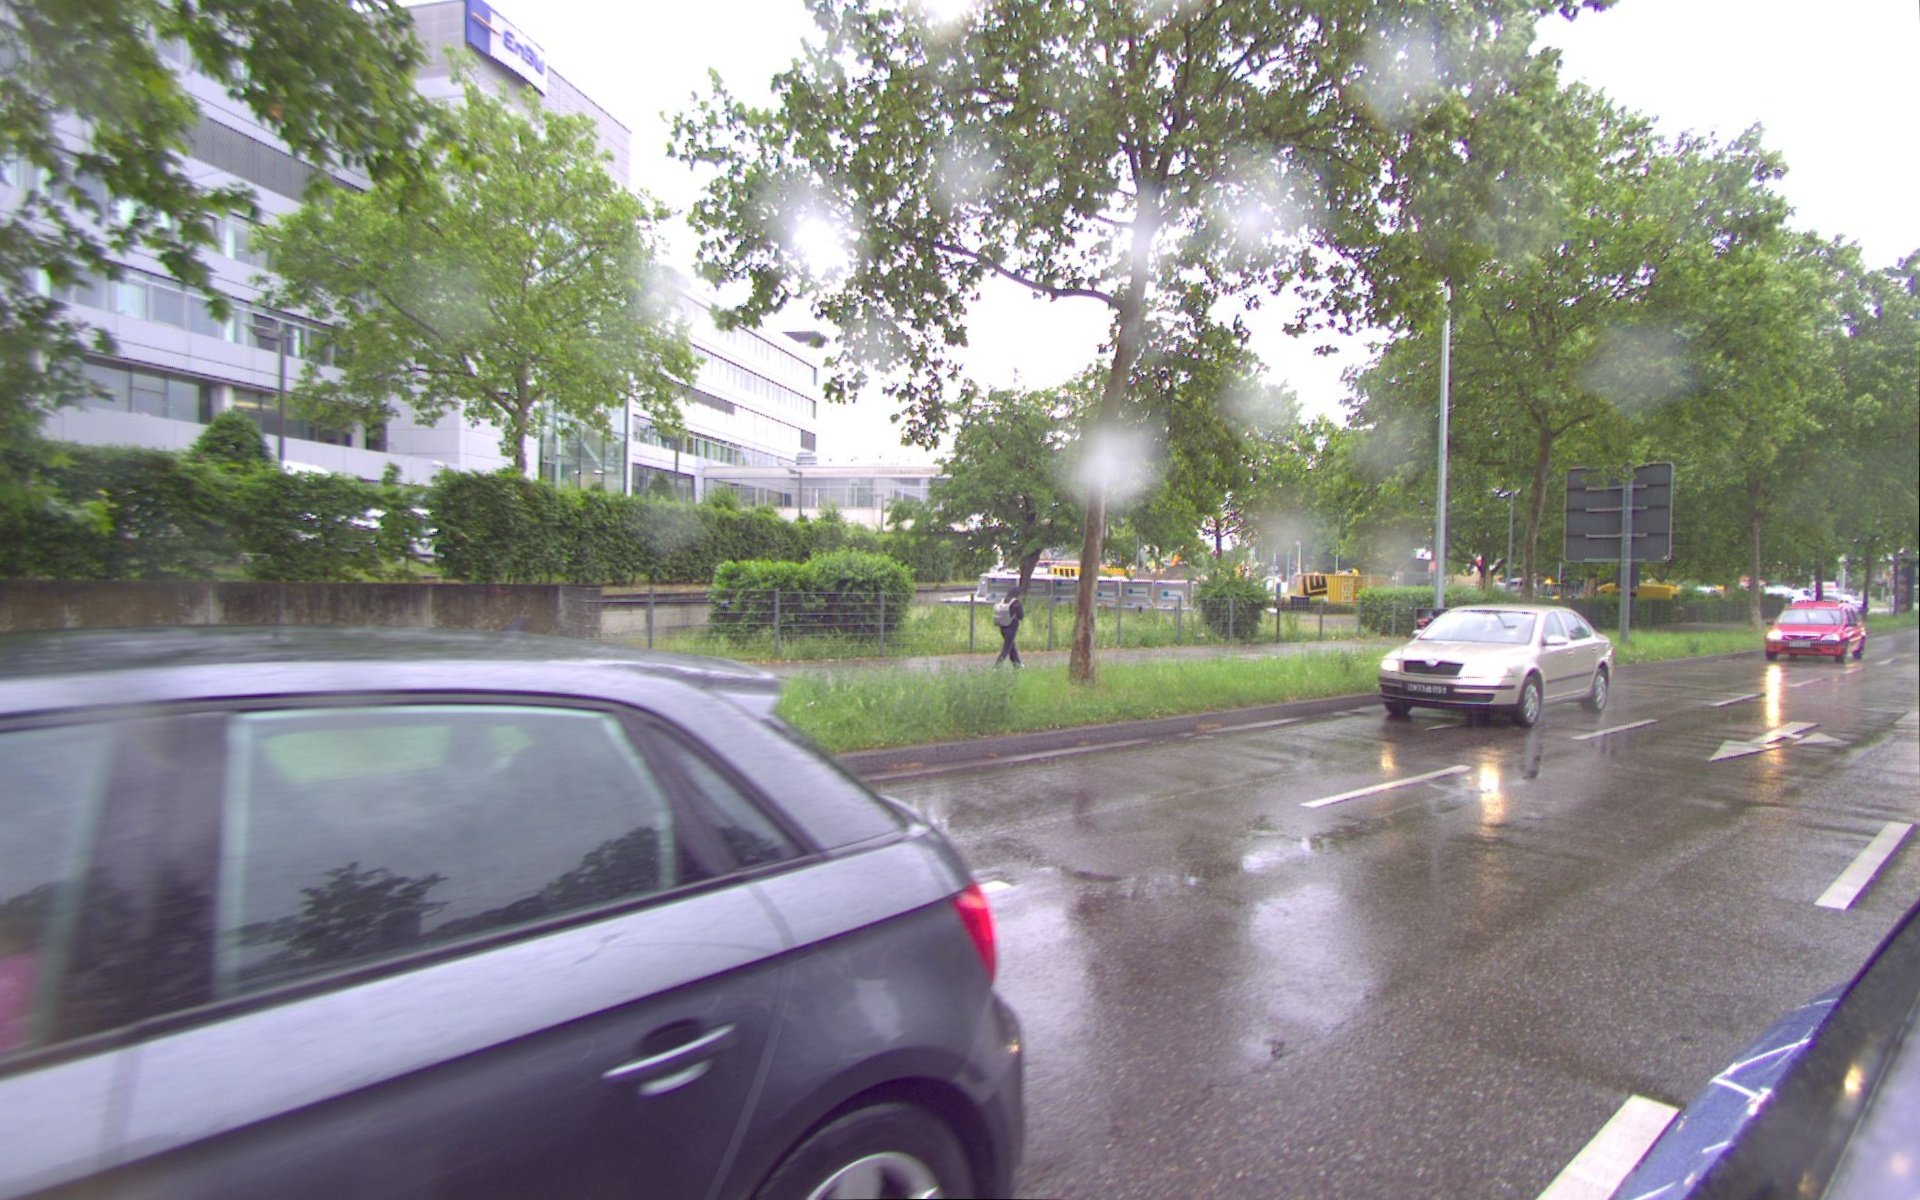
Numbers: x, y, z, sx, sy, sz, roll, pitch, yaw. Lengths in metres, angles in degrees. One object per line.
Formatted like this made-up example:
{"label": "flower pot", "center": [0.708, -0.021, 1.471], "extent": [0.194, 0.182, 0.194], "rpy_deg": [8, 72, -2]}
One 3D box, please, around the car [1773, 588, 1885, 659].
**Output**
{"label": "car", "center": [24.250, 0.591, 28.198], "extent": [4.478, 1.791, 1.699], "rpy_deg": [0, 2, -41]}

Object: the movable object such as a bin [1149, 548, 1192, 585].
{"label": "movable object such as a bin", "center": [21.569, -3.399, 103.778], "extent": [3.253, 3.670, 3.618], "rpy_deg": [1, 2, -6]}

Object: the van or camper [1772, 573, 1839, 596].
{"label": "van or camper", "center": [85.683, -1.607, 102.599], "extent": [4.830, 2.114, 1.863], "rpy_deg": [2, 2, 11]}

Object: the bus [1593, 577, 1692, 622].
{"label": "bus", "center": [42.875, -0.079, 63.674], "extent": [1.964, 2.680, 4.803], "rpy_deg": [0, 1, -39]}

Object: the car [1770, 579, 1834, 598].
{"label": "car", "center": [82.939, -1.146, 99.724], "extent": [4.391, 1.693, 1.863], "rpy_deg": [2, 2, 11]}

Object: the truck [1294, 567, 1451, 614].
{"label": "truck", "center": [27.560, -0.648, 68.063], "extent": [9.359, 3.069, 3.070], "rpy_deg": [0, 1, 14]}

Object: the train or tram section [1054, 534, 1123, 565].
{"label": "train or tram section", "center": [15.611, -6.110, 123.152], "extent": [8.238, 3.563, 2.393], "rpy_deg": [0, 1, 11]}

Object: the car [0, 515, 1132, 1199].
{"label": "car", "center": [-1.761, 0.650, 1.447], "extent": [3.932, 1.470, 1.996], "rpy_deg": [-1, 1, -43]}

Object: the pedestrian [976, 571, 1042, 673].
{"label": "pedestrian", "center": [0.894, 0.379, 18.408], "extent": [0.664, 1.784, 1.059], "rpy_deg": [1, 1, 43]}

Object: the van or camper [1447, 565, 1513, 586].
{"label": "van or camper", "center": [83.145, -3.886, 161.926], "extent": [8.846, 3.196, 2.976], "rpy_deg": [0, 1, 14]}

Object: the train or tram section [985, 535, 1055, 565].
{"label": "train or tram section", "center": [7.416, -6.140, 124.766], "extent": [8.396, 3.563, 2.393], "rpy_deg": [0, 1, 11]}

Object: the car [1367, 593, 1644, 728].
{"label": "car", "center": [7.304, 0.655, 13.361], "extent": [4.310, 1.448, 1.806], "rpy_deg": [-1, 2, -41]}
